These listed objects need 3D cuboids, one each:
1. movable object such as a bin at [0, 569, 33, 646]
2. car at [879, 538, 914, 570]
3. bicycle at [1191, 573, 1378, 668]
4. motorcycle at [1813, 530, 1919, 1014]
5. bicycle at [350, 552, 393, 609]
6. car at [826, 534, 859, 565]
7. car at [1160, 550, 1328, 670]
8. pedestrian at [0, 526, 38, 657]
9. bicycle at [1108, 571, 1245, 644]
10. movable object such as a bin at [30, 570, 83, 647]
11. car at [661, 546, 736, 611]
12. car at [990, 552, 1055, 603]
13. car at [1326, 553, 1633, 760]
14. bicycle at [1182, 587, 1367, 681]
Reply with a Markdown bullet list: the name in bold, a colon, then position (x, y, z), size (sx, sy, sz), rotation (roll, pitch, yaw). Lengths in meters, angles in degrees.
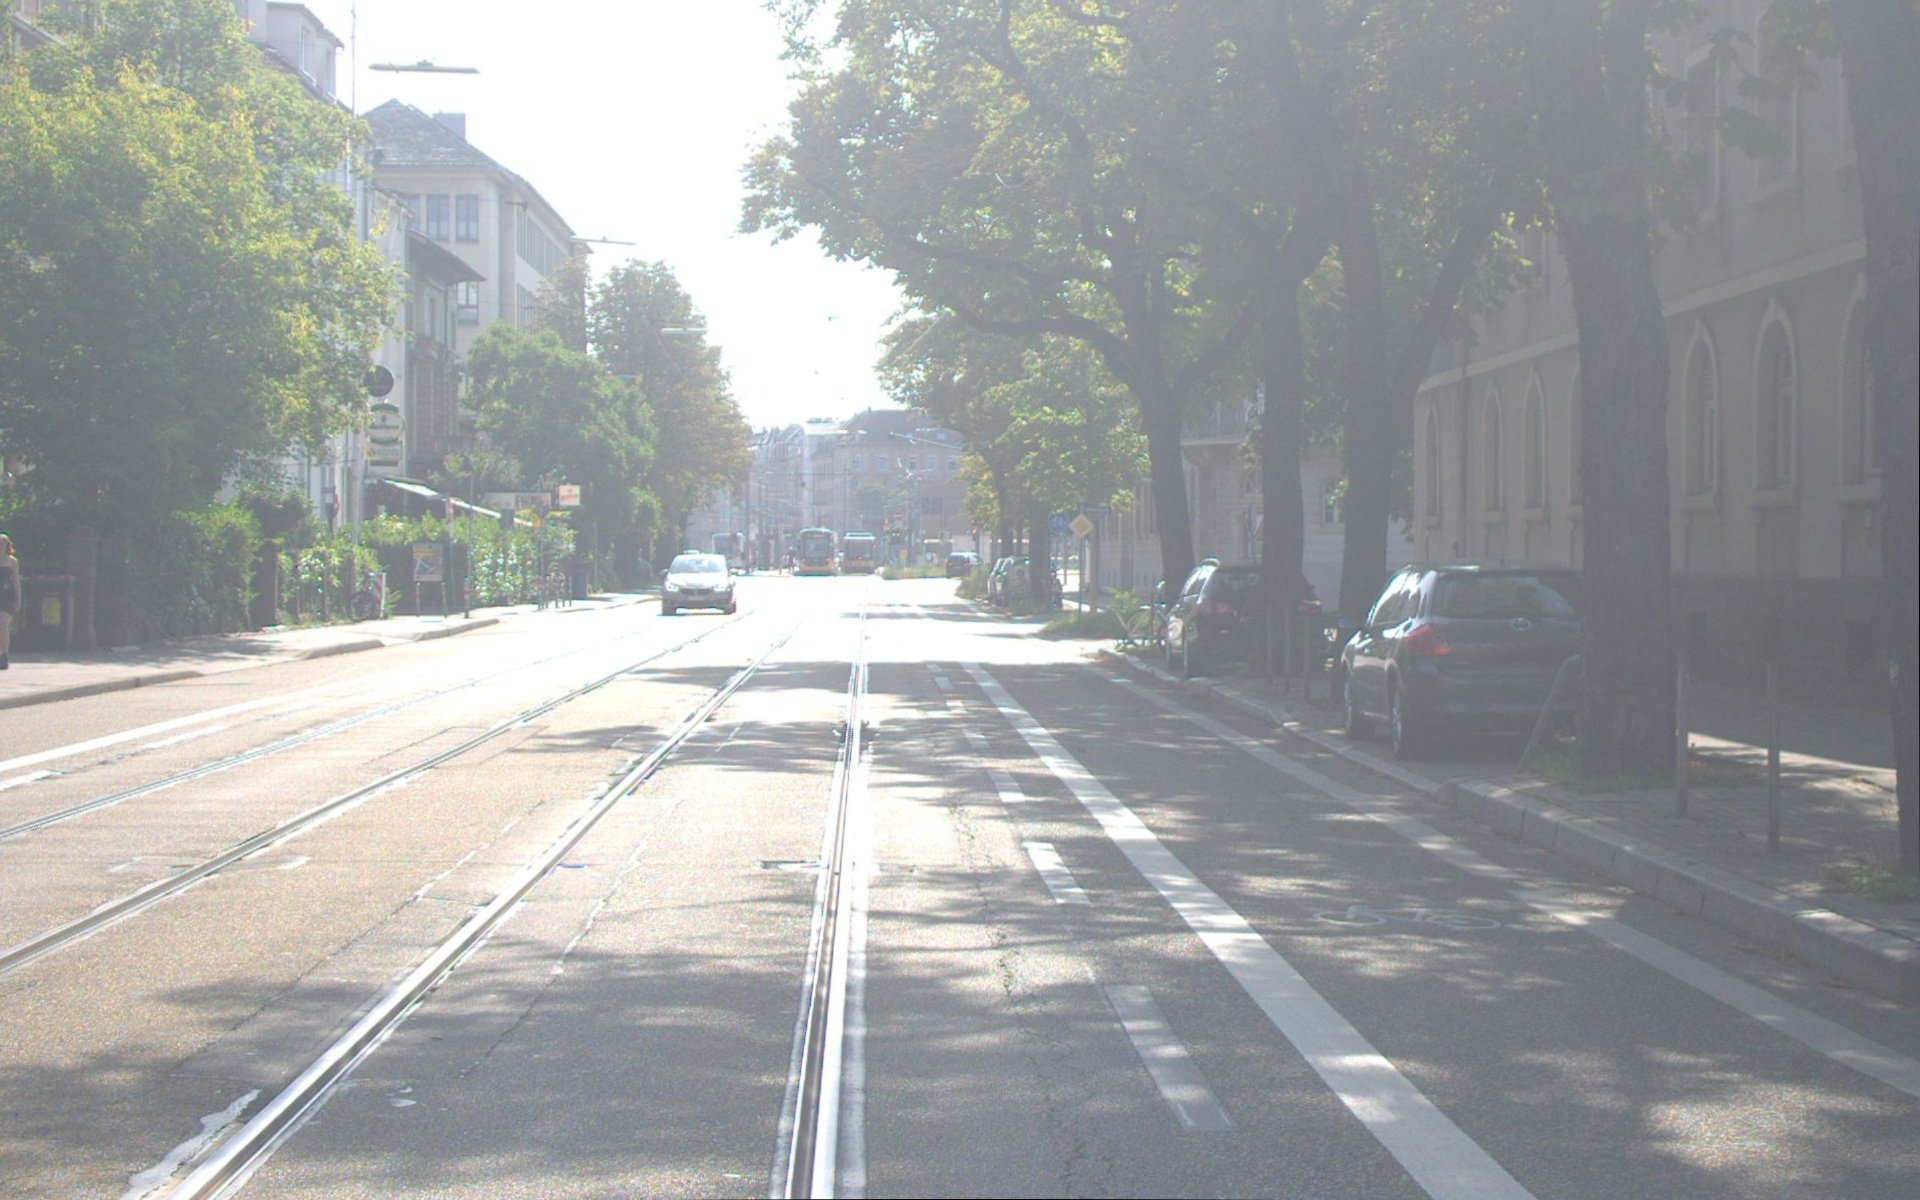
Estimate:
- **movable object such as a bin**: position (-13.445, 0.097, 48.546), size (0.589, 1.074, 0.705), rotation (0, 1, -8)
- **car**: position (-4.078, -2.946, 220.401), size (1.993, 2.007, 4.000), rotation (2, 1, 2)
- **bicycle**: position (3.803, 0.240, 40.348), size (2.106, 1.101, 0.563), rotation (0, 1, -8)
- **motorcycle**: position (4.229, 0.583, 11.675), size (2.418, 1.668, 0.911), rotation (0, 2, 43)
- **bicycle**: position (-12.891, -0.434, 75.297), size (0.561, 1.217, 2.114), rotation (0, 1, 0)
- **car**: position (-8.158, -3.502, 238.796), size (1.993, 2.007, 4.000), rotation (2, 1, 1)
- **car**: position (3.631, 0.119, 44.526), size (1.771, 1.468, 3.974), rotation (0, 0, -1)
- **pedestrian**: position (-11.741, -0.112, 41.939), size (0.752, 1.586, 0.878), rotation (0, 1, -1)
- **bicycle**: position (3.459, 0.116, 55.004), size (2.106, 1.101, 0.616), rotation (-1, 1, -2)
- **movable object such as a bin**: position (-12.777, 0.118, 48.631), size (0.631, 1.074, 0.705), rotation (0, 1, -8)
- **car**: position (-6.725, -0.577, 88.565), size (1.726, 1.632, 3.985), rotation (0, 1, -2)
- **car**: position (1.825, -0.666, 101.851), size (1.771, 1.468, 3.974), rotation (0, 0, -1)
- **car**: position (4.067, 0.397, 27.505), size (1.726, 1.499, 3.985), rotation (-1, 1, -2)
- **bicycle**: position (3.731, 0.405, 40.873), size (2.106, 1.101, 0.563), rotation (0, 1, -8)
